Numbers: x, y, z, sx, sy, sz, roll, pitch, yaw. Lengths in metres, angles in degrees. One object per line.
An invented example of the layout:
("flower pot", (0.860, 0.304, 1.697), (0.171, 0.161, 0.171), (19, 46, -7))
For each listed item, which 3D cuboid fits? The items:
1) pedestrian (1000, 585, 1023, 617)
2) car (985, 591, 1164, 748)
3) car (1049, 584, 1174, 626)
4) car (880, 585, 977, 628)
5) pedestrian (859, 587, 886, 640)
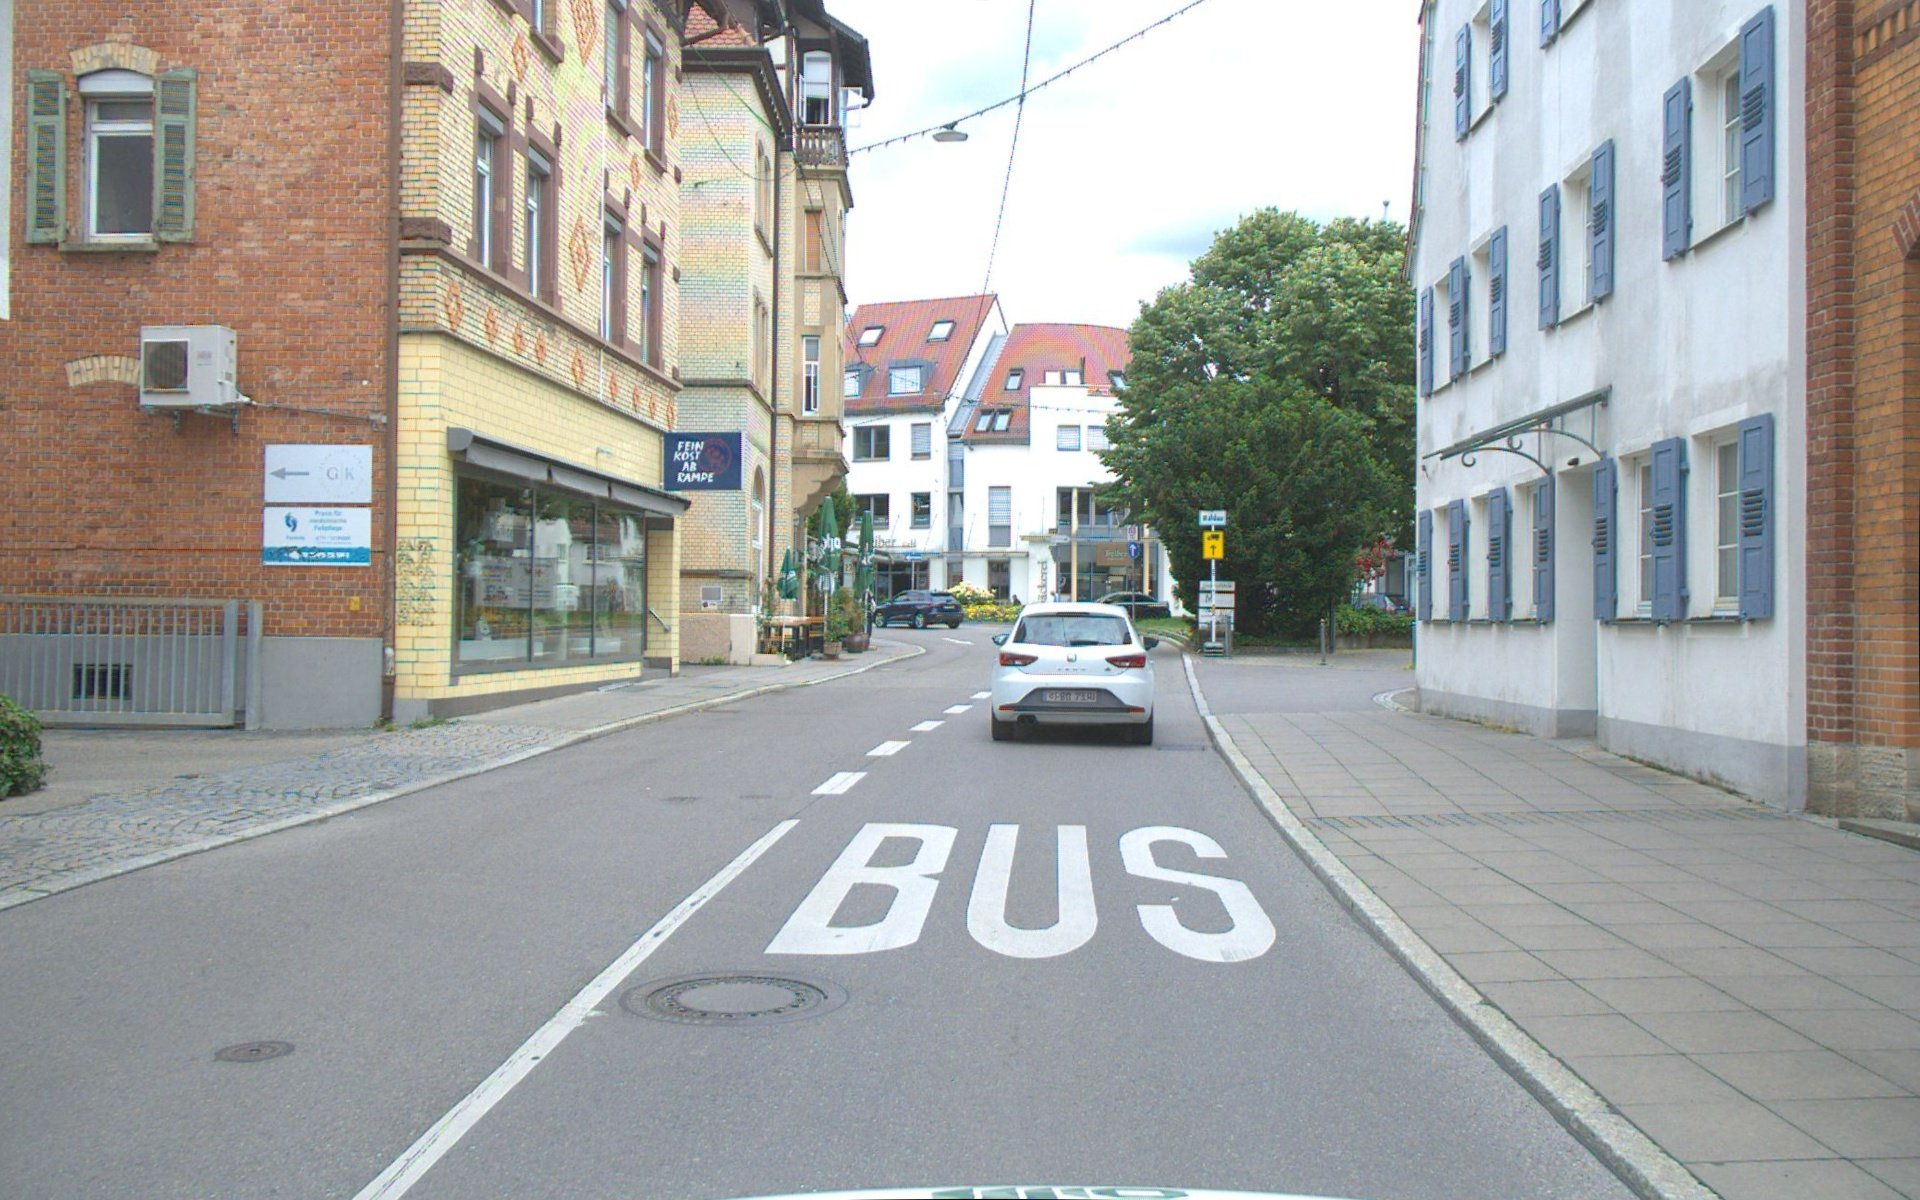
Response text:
("pedestrian", (2.215, 0.045, 70.714), (0.703, 1.335, 0.794), (1, 0, -24))
("car", (1.281, 0.678, 18.409), (1.773, 1.506, 3.873), (0, 1, 4))
("car", (5.896, 0.172, 64.830), (4.800, 1.584, 2.250), (0, 0, 3))
("car", (-1.208, 0.222, 62.088), (1.798, 1.506, 3.819), (-1, 1, -37))
("pedestrian", (-2.649, 0.410, 50.171), (0.817, 1.579, 0.627), (0, 0, -3))
